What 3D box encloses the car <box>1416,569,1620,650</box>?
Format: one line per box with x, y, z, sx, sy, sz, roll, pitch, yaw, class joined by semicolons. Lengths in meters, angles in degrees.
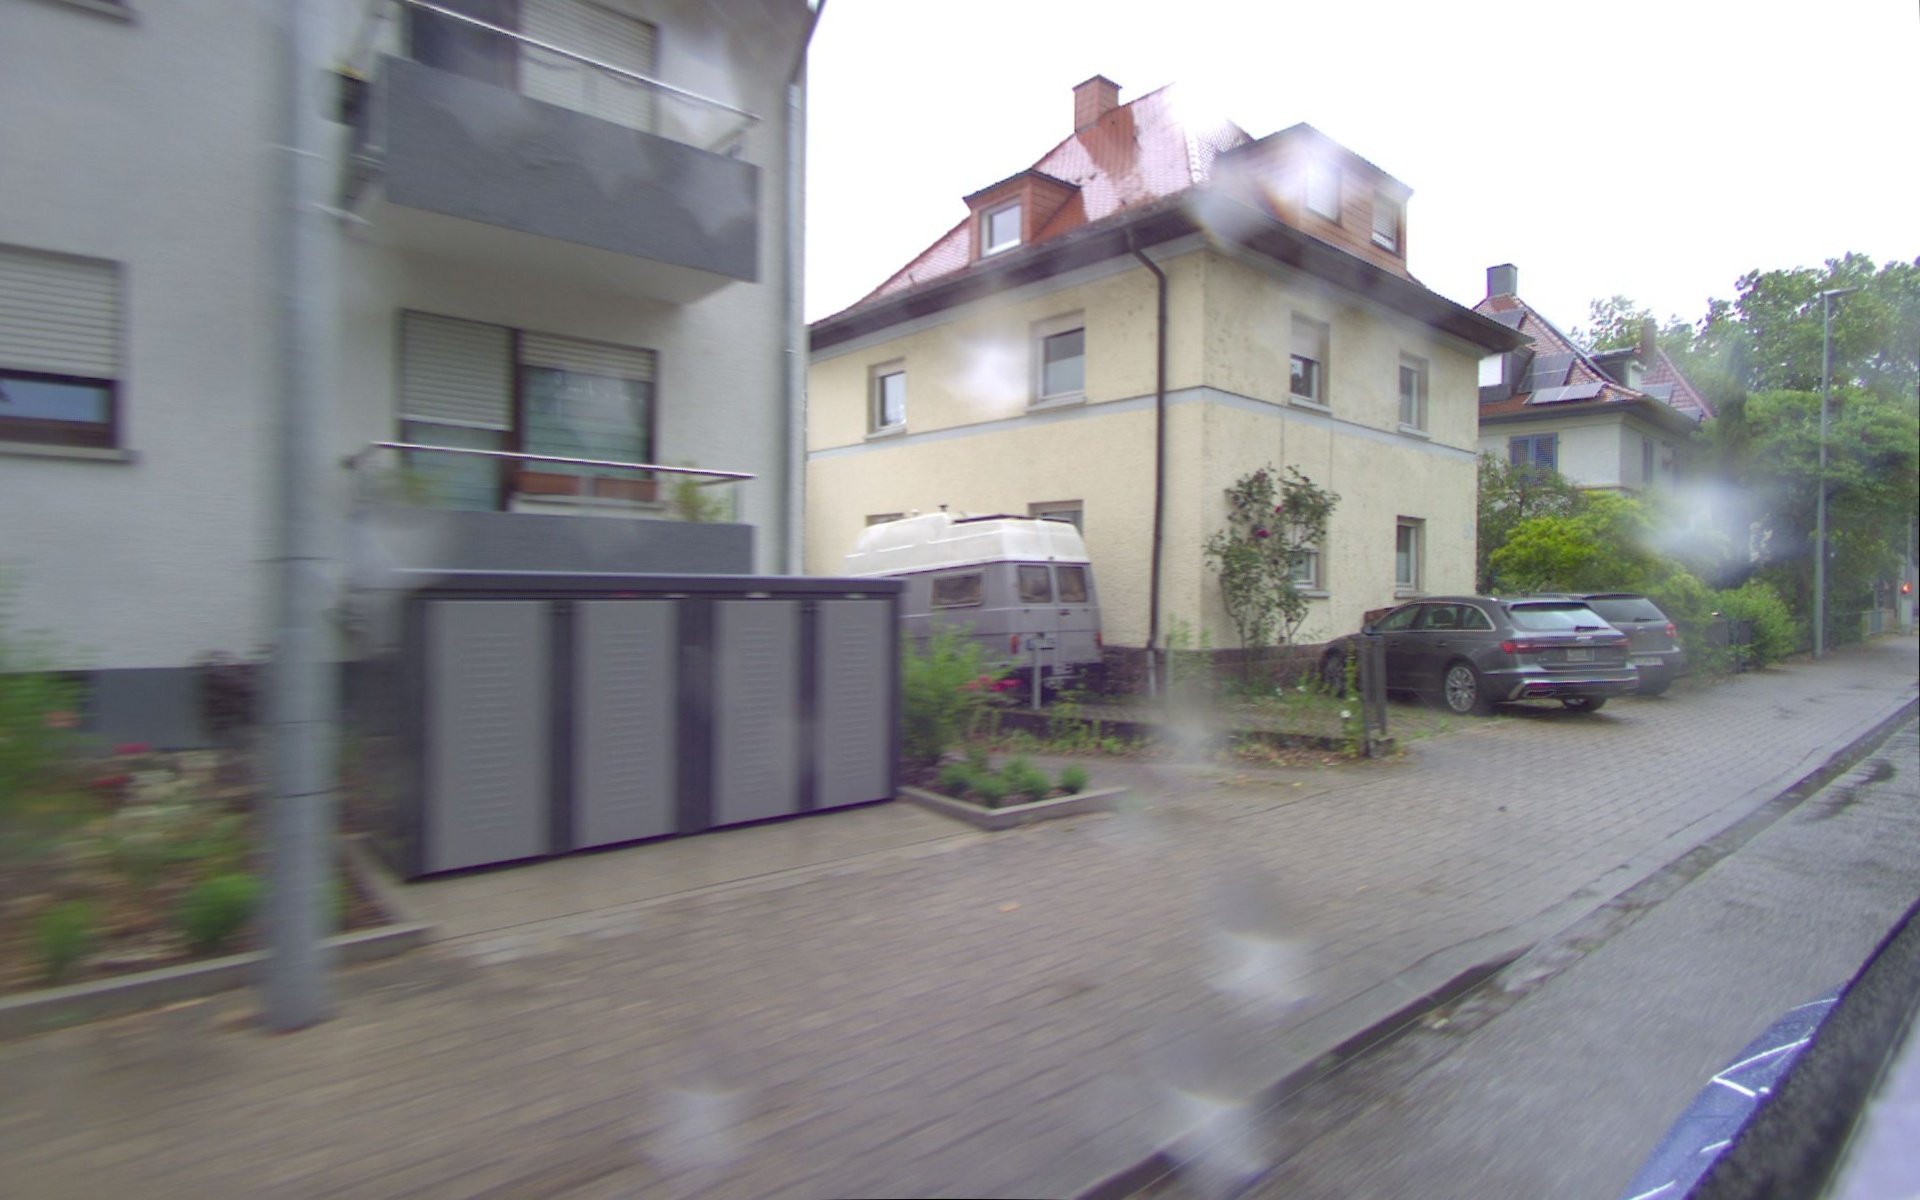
13.914;0.285;25.417;1.788;1.601;3.993;-1;-6;-38;car

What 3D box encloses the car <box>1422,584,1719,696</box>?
9.021;0.521;15.410;1.736;1.475;4.005;0;0;-7;car

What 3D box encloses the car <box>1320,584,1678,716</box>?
6.624;0.575;13.122;1.880;1.382;4.387;2;-1;-7;car

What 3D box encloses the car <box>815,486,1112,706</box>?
-0.091;0.012;15.225;1.970;2.796;4.466;4;-3;-41;car
